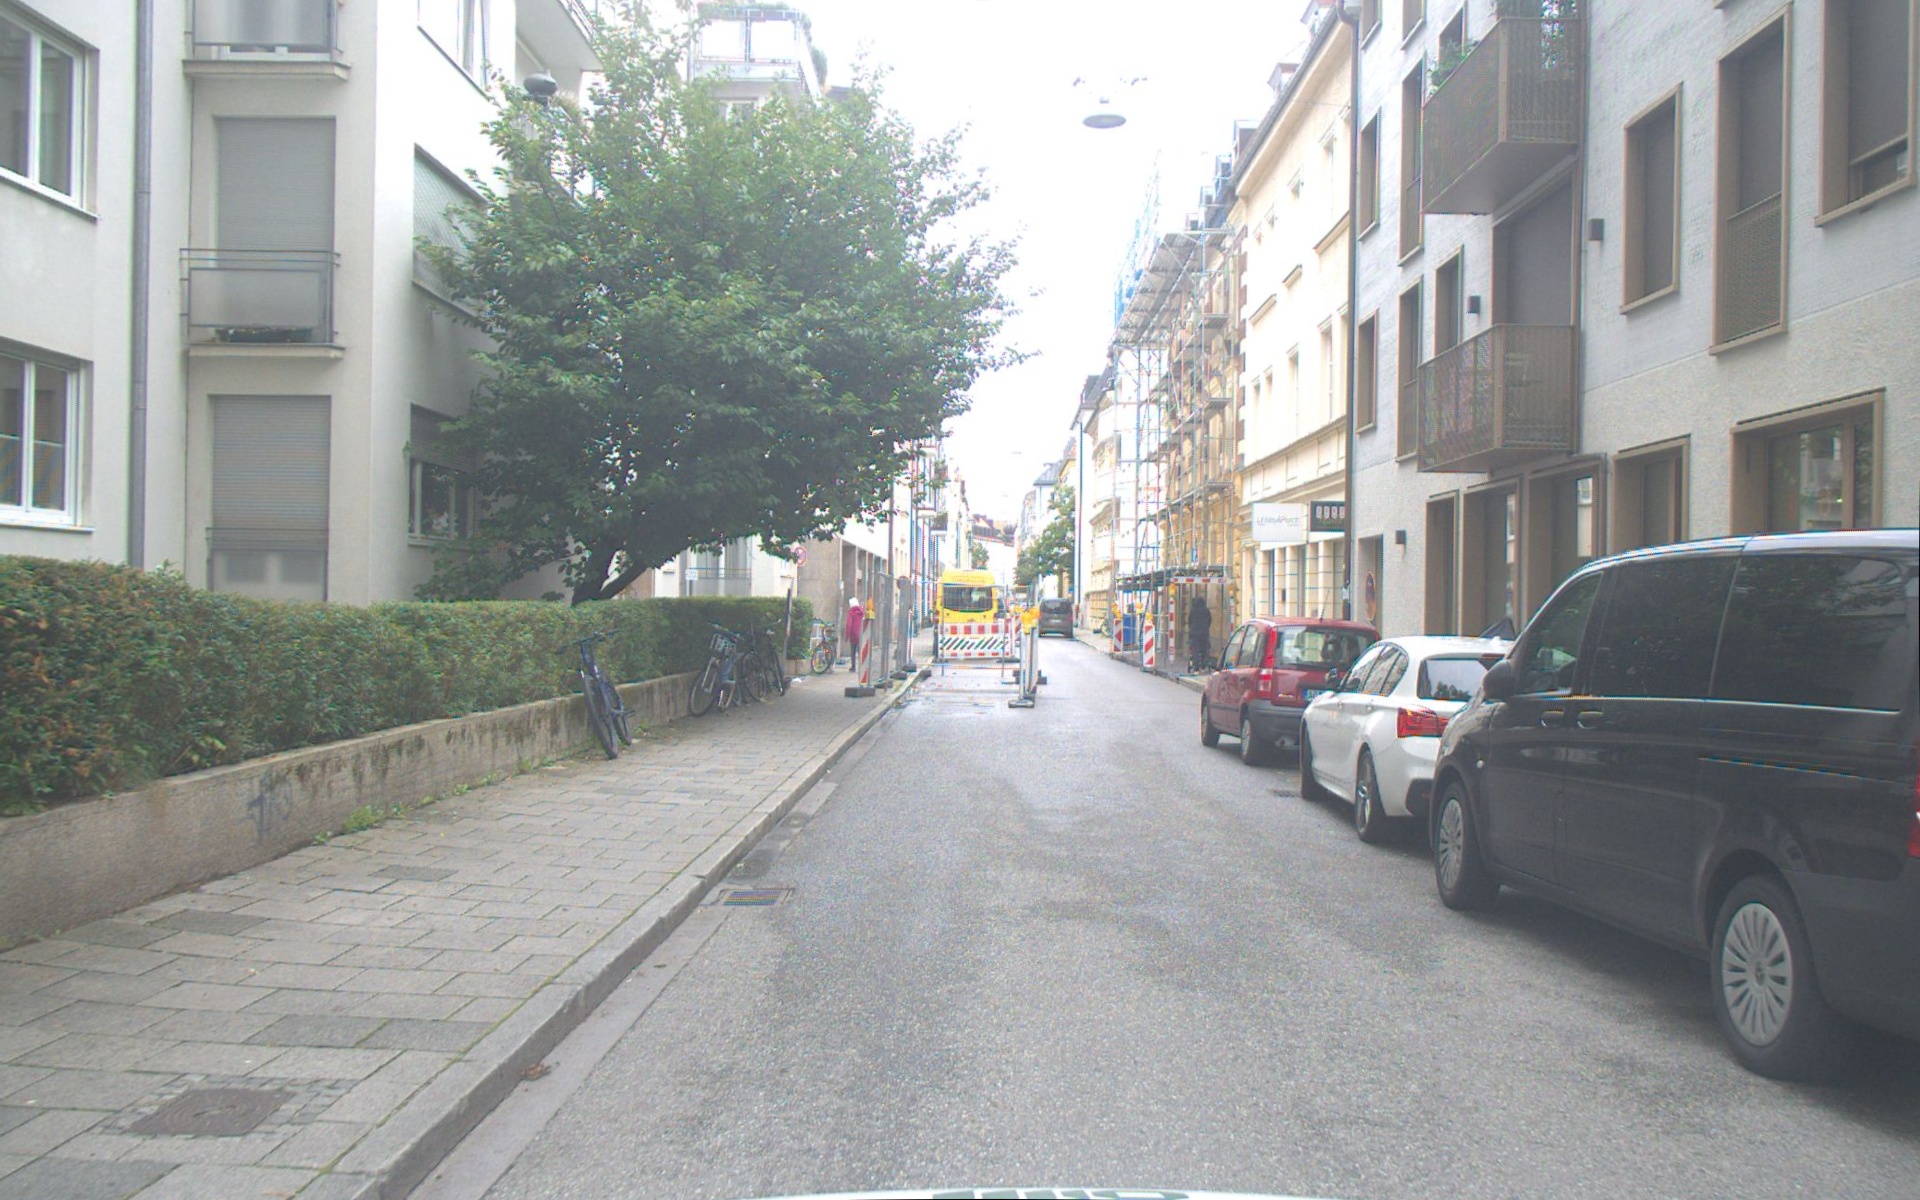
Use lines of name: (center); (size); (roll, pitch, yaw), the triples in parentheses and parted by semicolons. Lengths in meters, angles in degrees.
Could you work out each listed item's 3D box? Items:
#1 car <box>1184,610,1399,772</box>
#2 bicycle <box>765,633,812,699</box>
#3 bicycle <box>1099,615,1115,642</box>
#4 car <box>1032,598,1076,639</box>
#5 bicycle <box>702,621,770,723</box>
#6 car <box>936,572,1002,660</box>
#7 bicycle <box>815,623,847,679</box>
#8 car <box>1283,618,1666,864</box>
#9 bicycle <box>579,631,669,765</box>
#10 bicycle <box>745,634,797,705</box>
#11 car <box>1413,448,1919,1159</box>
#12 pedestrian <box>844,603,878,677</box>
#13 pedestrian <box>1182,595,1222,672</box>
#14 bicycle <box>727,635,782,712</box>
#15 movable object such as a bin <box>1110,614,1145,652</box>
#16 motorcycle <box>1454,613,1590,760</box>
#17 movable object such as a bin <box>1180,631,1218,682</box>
car: (3.602, 0.923, 18.622); (1.735, 1.550, 4.068); (2, 0, 3)
bicycle: (-2.722, 1.032, 26.326); (0.434, 0.995, 1.816); (4, -1, 2)
bicycle: (6.907, 1.332, 77.755); (0.625, 1.173, 1.915); (-2, 0, 1)
car: (4.800, 0.930, 84.691); (1.953, 1.965, 4.660); (2, 0, 0)
bicycle: (-2.747, 0.868, 20.434); (0.478, 1.171, 1.699); (4, -1, 2)
car: (0.286, 0.500, 52.705); (1.952, 2.624, 6.736); (0, 0, 0)
bicycle: (-2.672, 1.050, 34.269); (0.369, 1.081, 1.598); (6, 0, 2)
car: (3.756, 0.935, 12.899); (1.731, 1.487, 4.381); (2, 0, 2)
bicycle: (-3.021, 0.852, 14.980); (0.339, 1.090, 1.780); (4, 0, 1)
bicycle: (-2.779, 1.009, 24.461); (0.434, 0.995, 1.854); (4, -1, 2)
car: (3.650, 0.615, 7.008); (1.950, 2.011, 4.883); (3, 0, -1)
pedestrian: (-2.122, 0.853, 35.397); (0.624, 1.559, 0.747); (-1, -1, 3)
pedestrian: (5.779, 0.789, 39.556); (0.714, 1.783, 0.988); (-3, -1, 0)
bicycle: (-2.826, 0.993, 22.900); (0.427, 0.995, 1.699); (4, -1, 2)
movable object such as a bin: (6.310, 1.227, 62.245); (1.063, 1.370, 1.318); (-2, 0, 13)
motorcycle: (5.949, 0.875, 17.621); (0.788, 1.448, 1.932); (-2, 0, 2)
movable object such as a bin: (5.811, 1.362, 40.300); (0.714, 1.161, 0.988); (-4, 0, 0)
